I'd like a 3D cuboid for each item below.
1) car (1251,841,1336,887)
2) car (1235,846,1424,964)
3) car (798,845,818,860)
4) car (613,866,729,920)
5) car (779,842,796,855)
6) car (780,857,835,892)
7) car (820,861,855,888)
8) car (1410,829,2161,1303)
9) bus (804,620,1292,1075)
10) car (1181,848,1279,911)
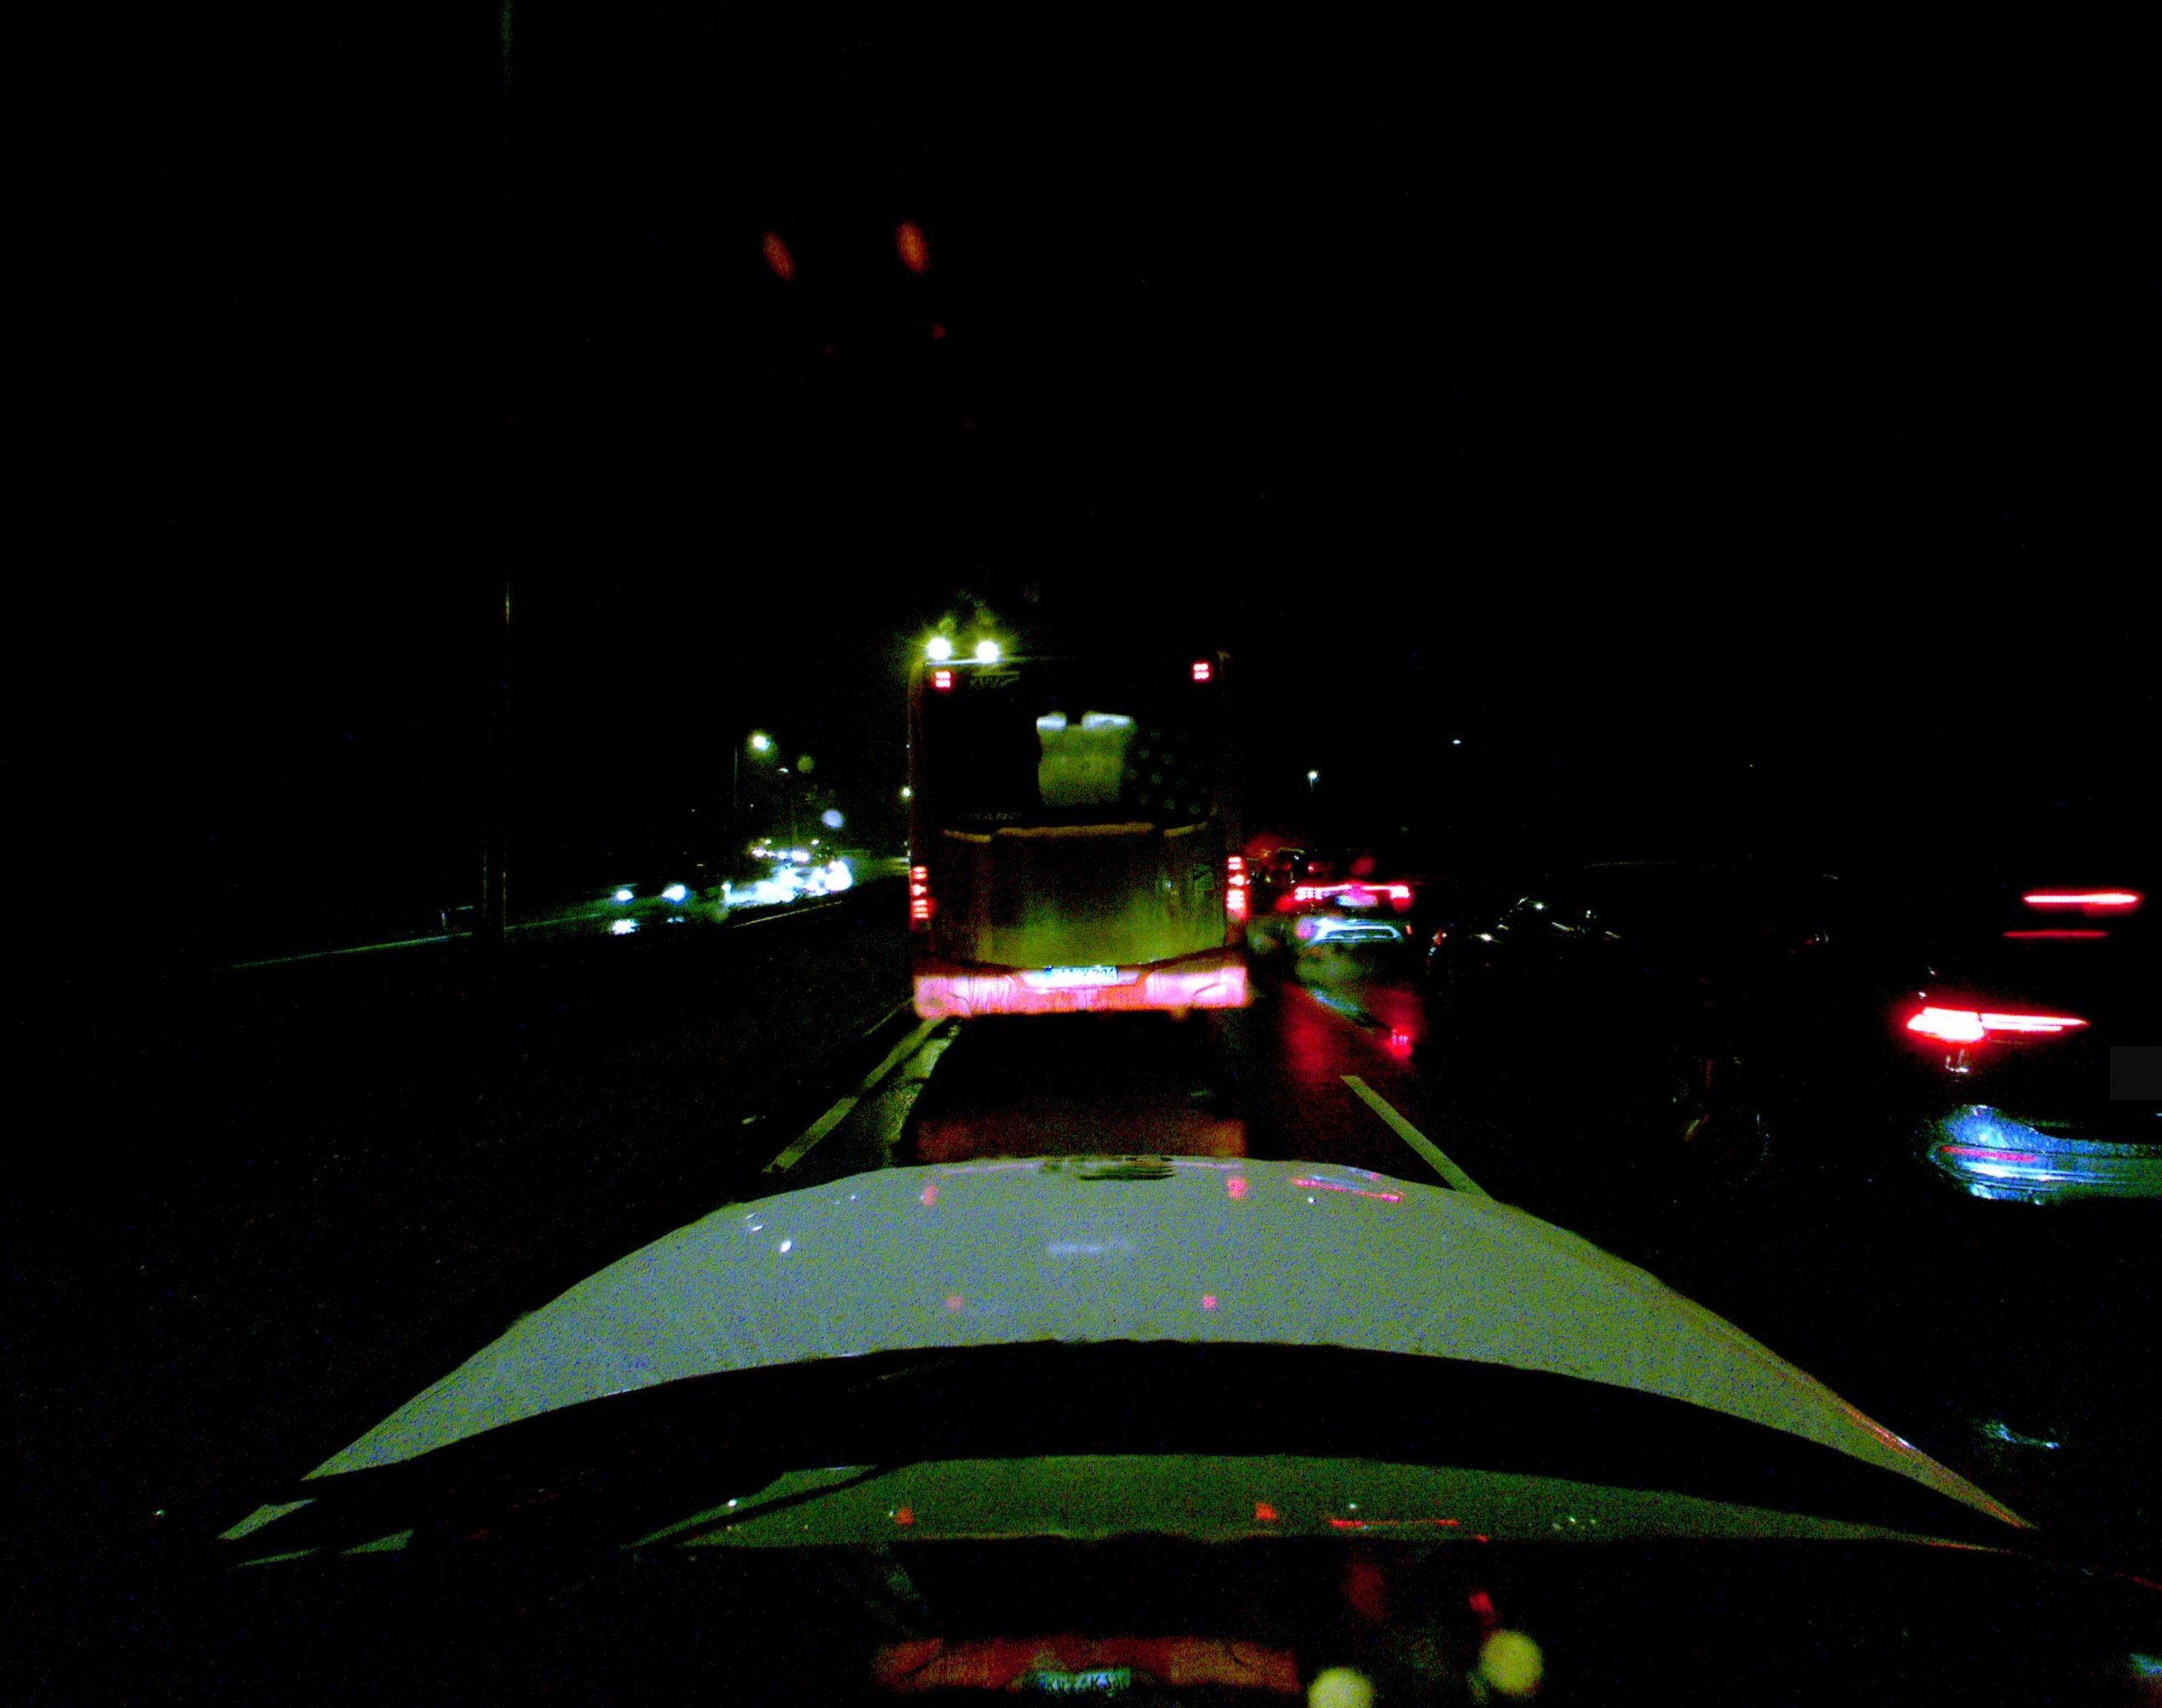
[{"bbox_3d":[7.490,0.340,29.153,1.986,1.481,4.339,1,0,1],"label":"car"},{"bbox_3d":[3.611,0.680,12.572,1.672,1.521,3.959,0,-1,-1],"label":"car"},{"bbox_3d":[-29.591,-0.151,88.123,1.807,1.482,3.787,-1,0,-22],"label":"car"},{"bbox_3d":[-12.565,1.135,25.302,1.710,1.423,4.656,-2,0,-7],"label":"car"},{"bbox_3d":[-36.920,-0.683,102.456,1.748,1.502,3.969,0,-1,-23],"label":"car"},{"bbox_3d":[-13.449,0.994,40.301,1.869,1.607,4.235,-1,-1,-9],"label":"car"},{"bbox_3d":[-16.233,1.325,54.497,1.766,1.631,4.235,-1,0,-10],"label":"car"},{"bbox_3d":[3.677,0.709,4.896,1.666,1.506,4.561,1,-1,2],"label":"car"},{"bbox_3d":[-0.198,-0.153,10.390,3.274,3.050,9.544,-2,1,0],"label":"bus"},{"bbox_3d":[3.613,0.599,20.371,1.681,1.330,3.959,-3,-1,0],"label":"car"}]
